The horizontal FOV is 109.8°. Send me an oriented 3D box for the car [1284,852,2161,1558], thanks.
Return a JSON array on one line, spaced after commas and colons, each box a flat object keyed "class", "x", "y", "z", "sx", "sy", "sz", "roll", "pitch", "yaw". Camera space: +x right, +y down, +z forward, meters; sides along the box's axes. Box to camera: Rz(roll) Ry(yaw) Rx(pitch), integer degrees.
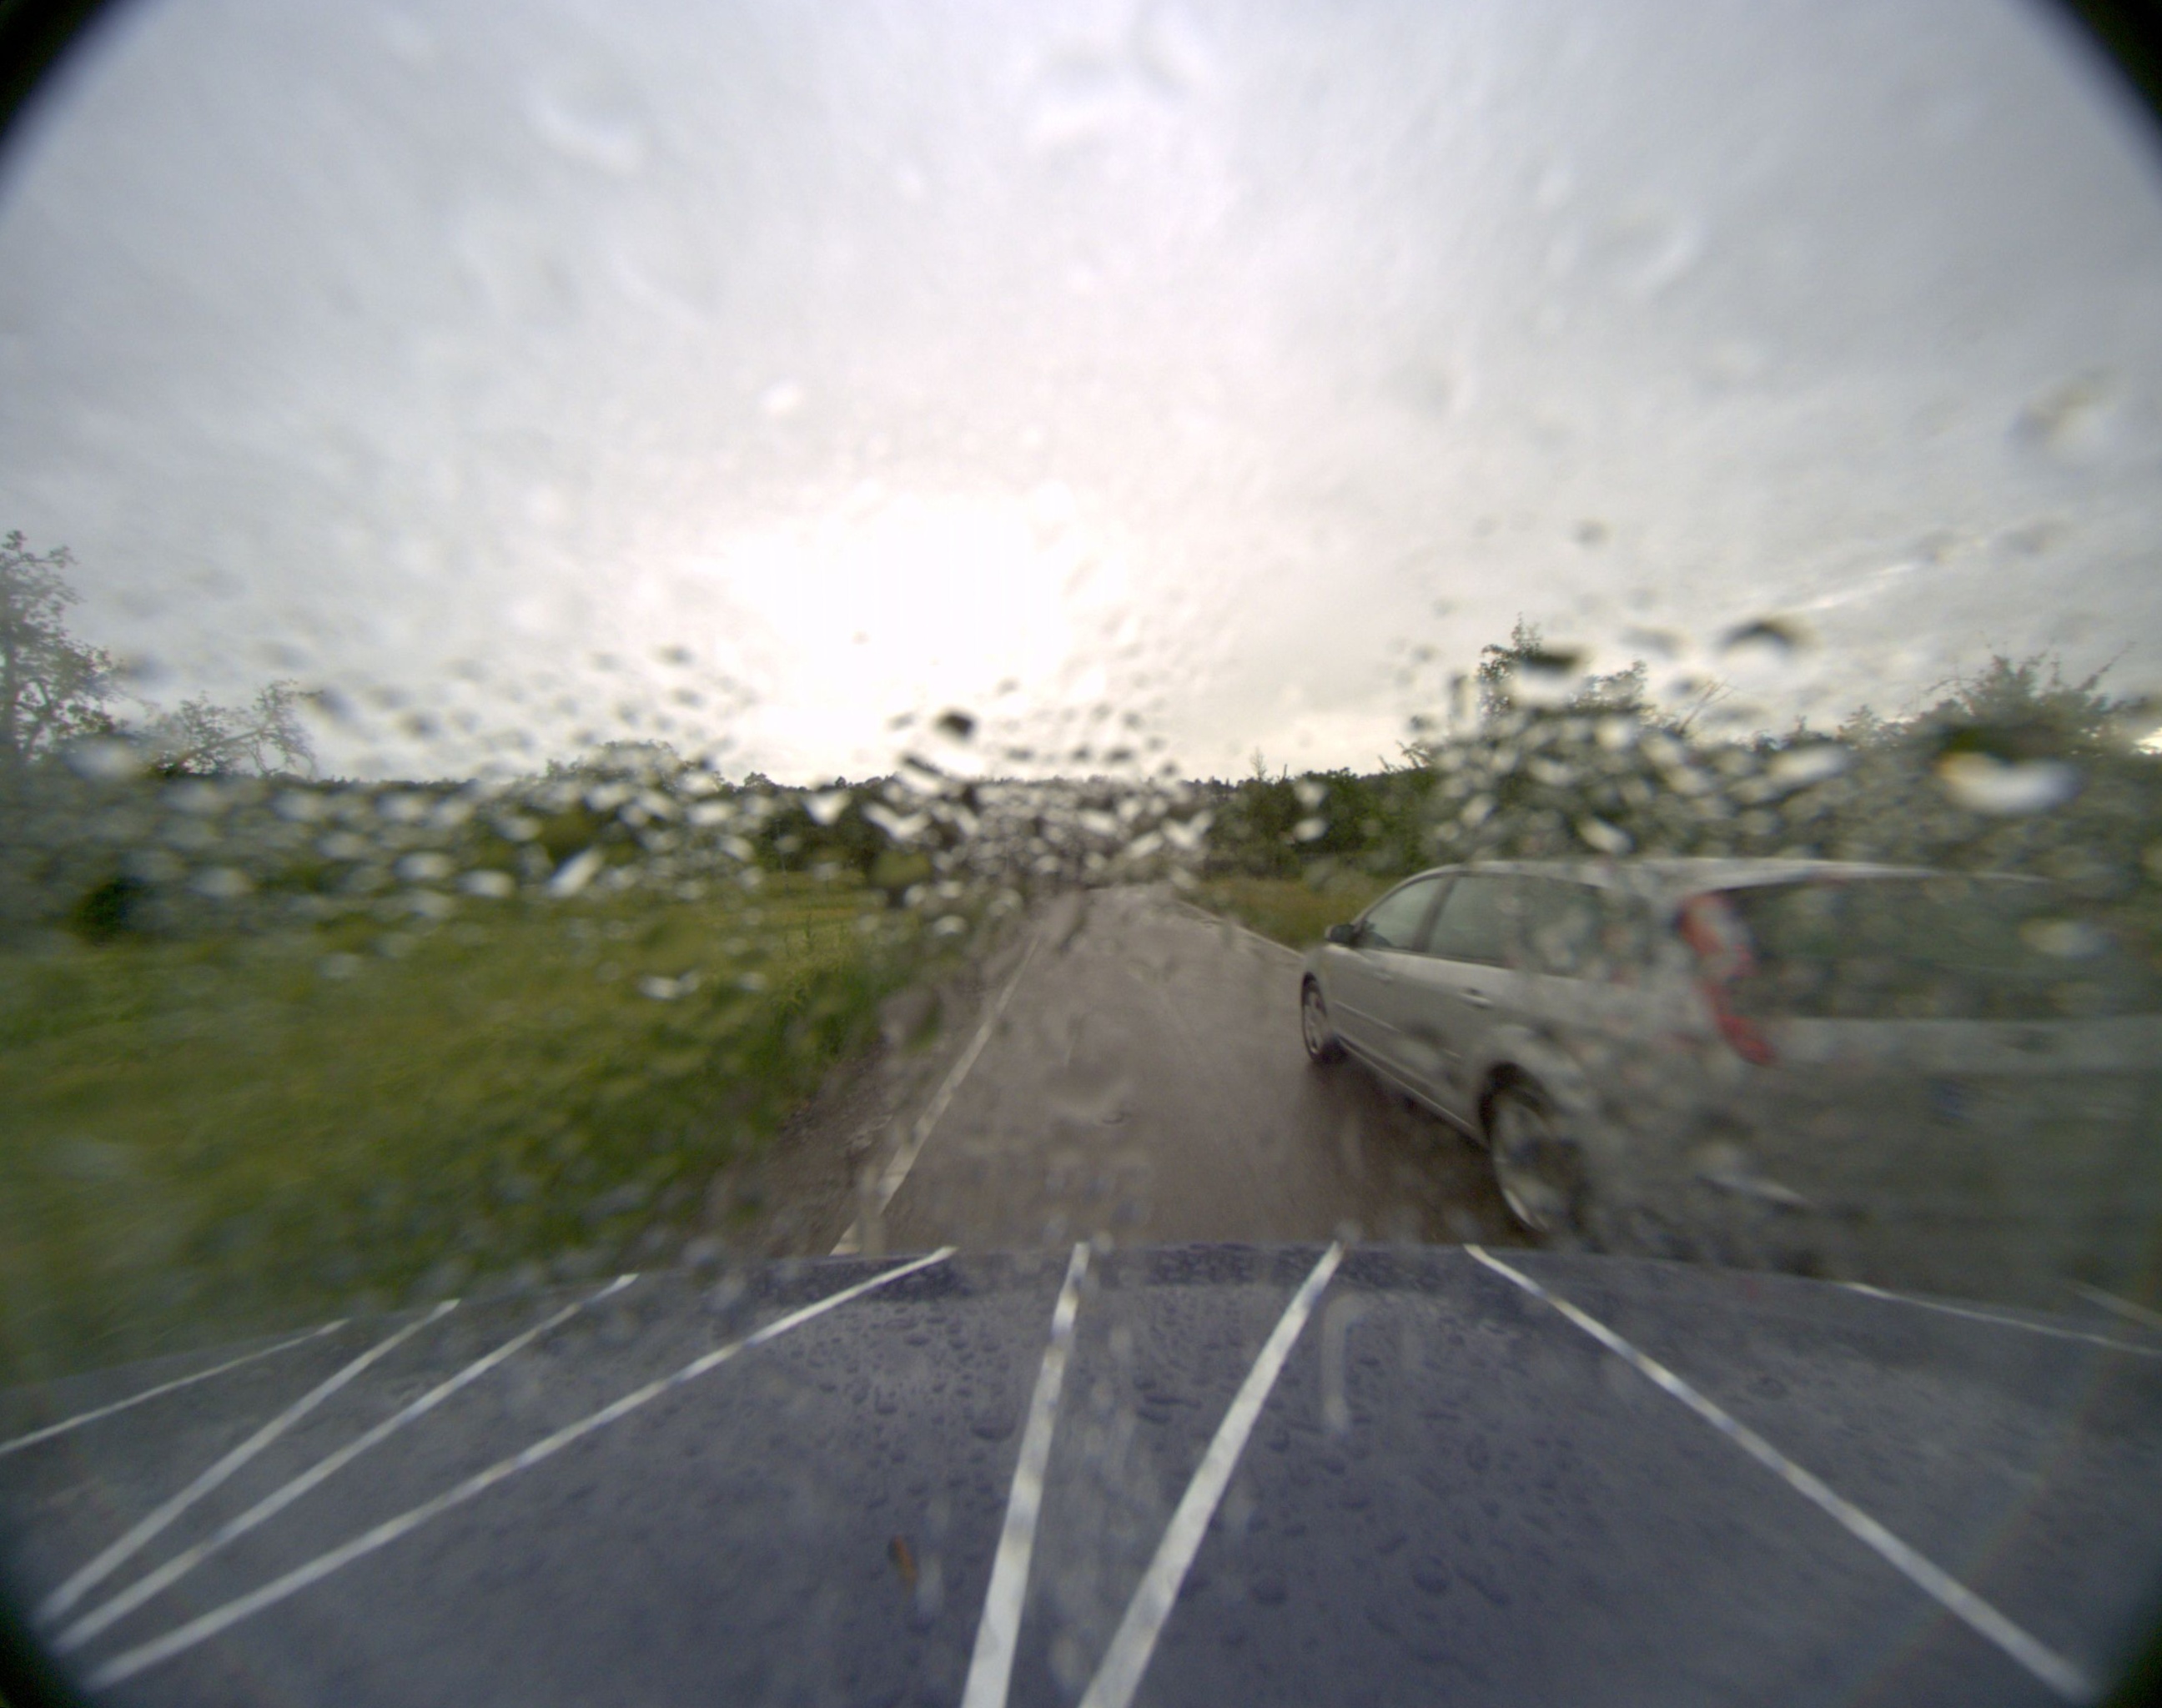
[{"class": "car", "x": 2.474, "y": 0.787, "z": 3.767, "sx": 1.744, "sy": 1.463, "sz": 4.122, "roll": -3, "pitch": 1, "yaw": -1}]
